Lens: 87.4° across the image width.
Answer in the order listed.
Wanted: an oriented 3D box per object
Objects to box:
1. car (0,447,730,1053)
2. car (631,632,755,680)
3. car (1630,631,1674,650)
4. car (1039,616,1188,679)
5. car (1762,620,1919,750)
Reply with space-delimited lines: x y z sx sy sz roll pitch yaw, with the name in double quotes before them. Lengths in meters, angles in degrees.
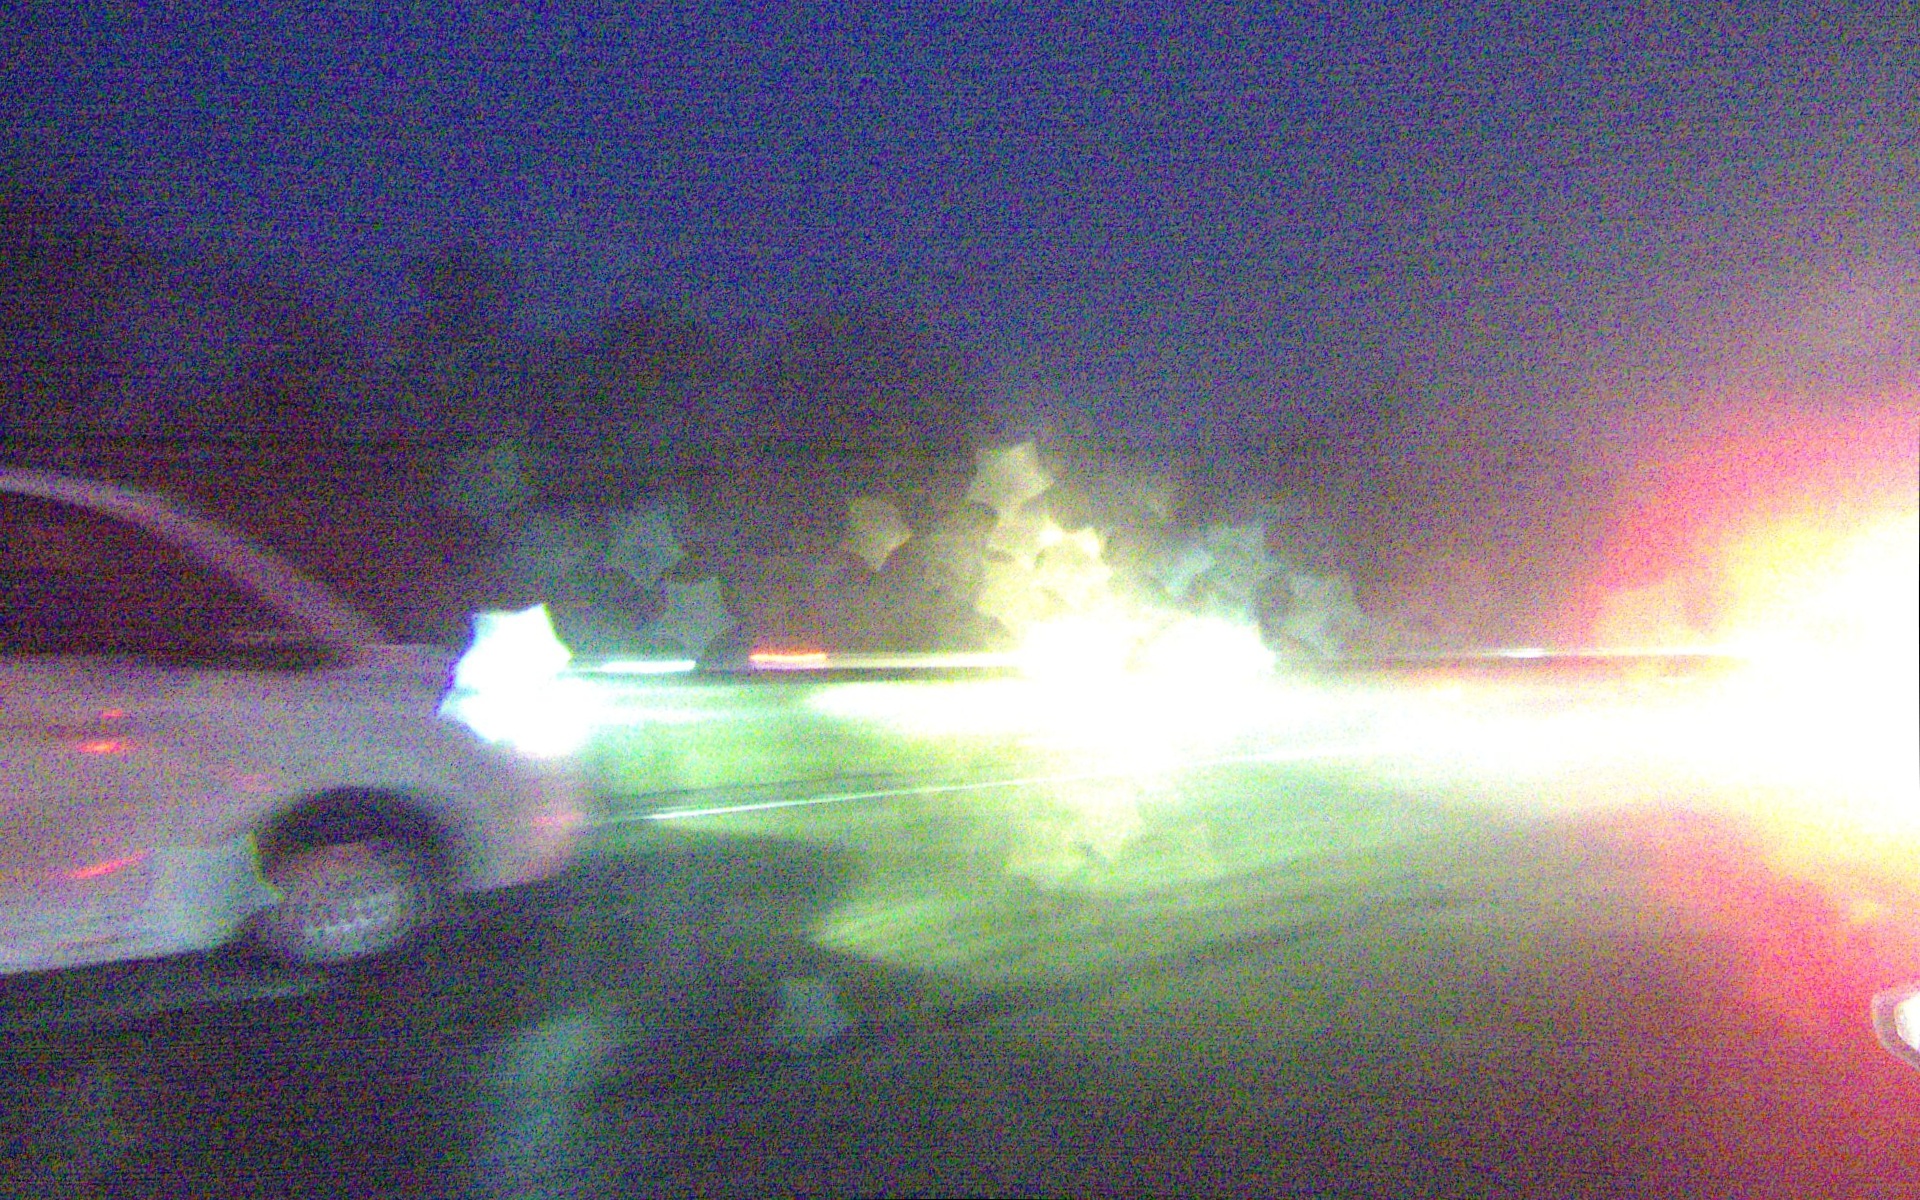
"car" -3.900 0.477 3.880 5.491 1.909 2.126 2 -2 -31
"car" -7.726 1.617 29.121 3.197 1.324 1.524 2 -4 -32
"car" 51.409 3.030 74.580 3.197 1.324 1.524 2 -4 -32
"car" 4.410 1.380 28.815 3.909 1.668 1.983 2 -4 -32
"car" 13.613 1.098 14.407 4.697 1.561 1.848 0 0 -32
